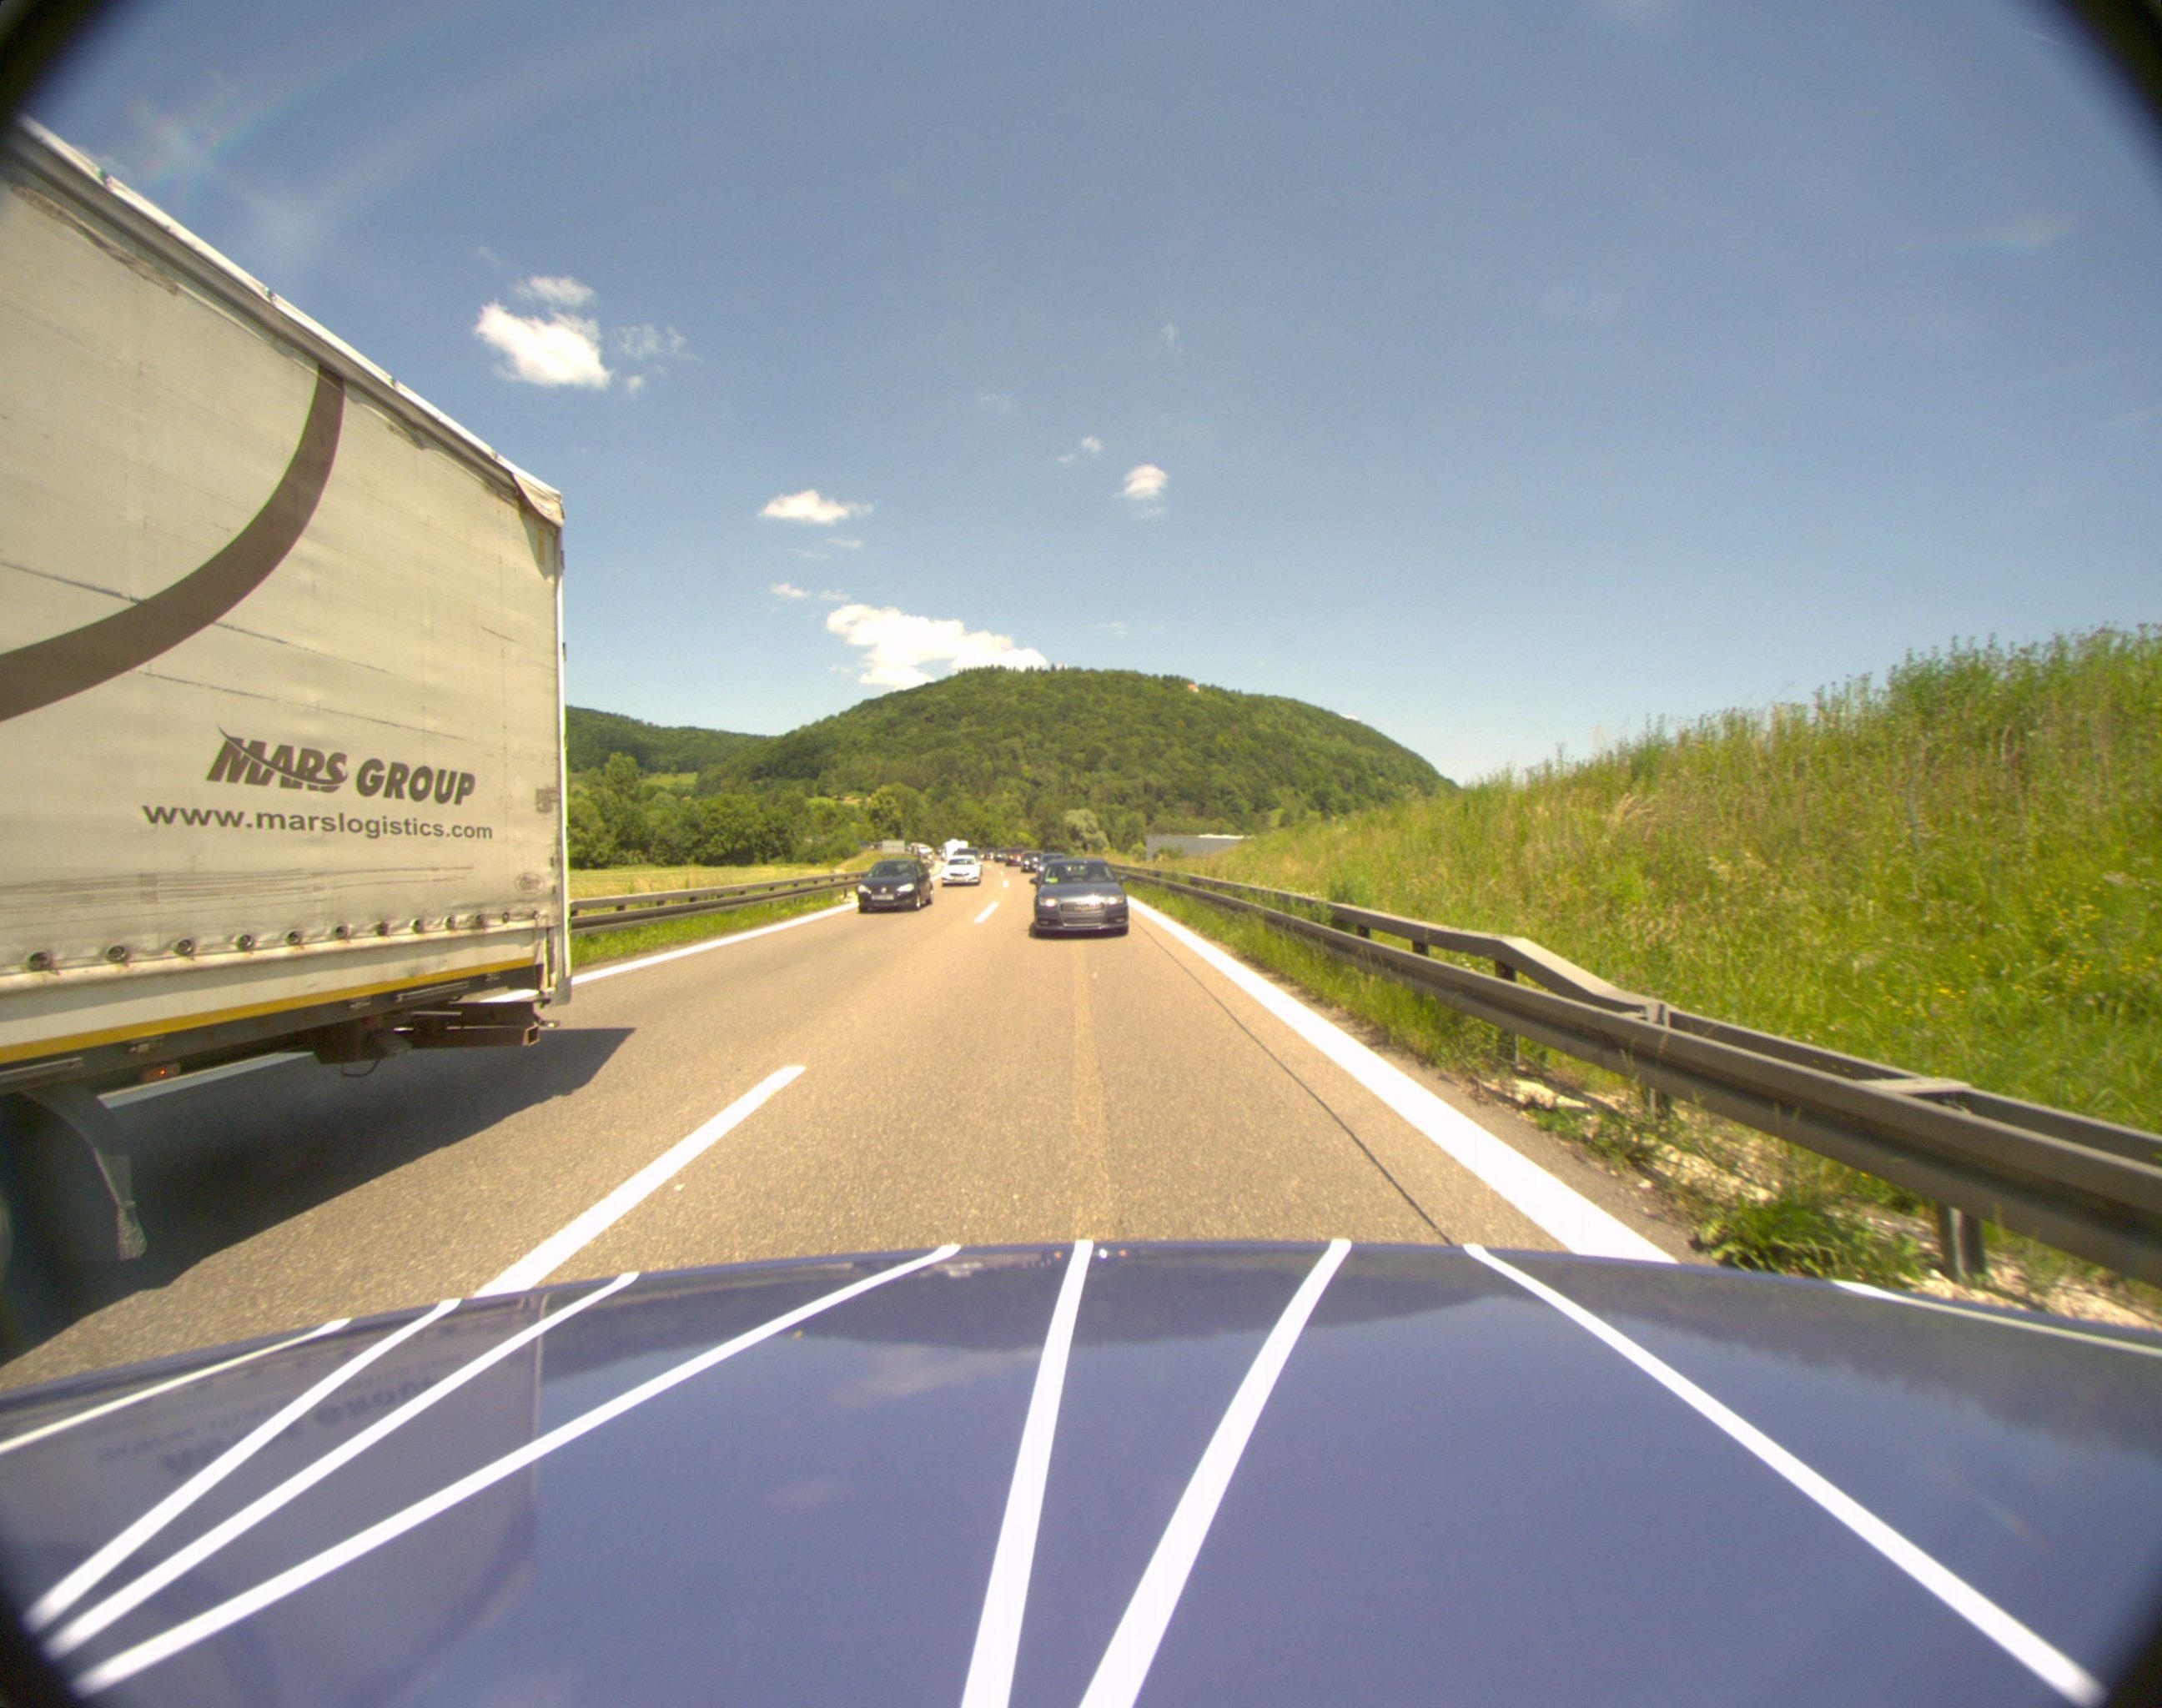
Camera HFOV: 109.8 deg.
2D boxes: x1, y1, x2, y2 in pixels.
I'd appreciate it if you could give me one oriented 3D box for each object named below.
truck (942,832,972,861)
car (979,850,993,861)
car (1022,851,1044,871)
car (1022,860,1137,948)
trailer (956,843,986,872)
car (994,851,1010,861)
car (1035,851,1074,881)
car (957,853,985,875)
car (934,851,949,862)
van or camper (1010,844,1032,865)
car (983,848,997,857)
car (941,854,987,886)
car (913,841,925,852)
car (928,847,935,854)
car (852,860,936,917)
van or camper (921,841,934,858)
[{"bbox_3d":[-14.569,-0.800,88.941,2.605,3.089,6.849,-4,1,-15],"label":"truck"},{"bbox_3d":[-14.399,0.257,115.088,1.532,1.628,3.414,-4,1,-15],"label":"car"},{"bbox_3d":[-3.475,0.492,54.703,1.287,1.305,3.450,-2,1,-9],"label":"car"},{"bbox_3d":[-0.176,0.854,14.874,1.756,1.382,4.052,-2,0,-7],"label":"car"},{"bbox_3d":[-7.802,0.258,53.777,2.000,1.958,3.997,0,0,-9],"label":"trailer"},{"bbox_3d":[-8.929,0.197,85.923,1.492,1.102,3.211,-2,1,-10],"label":"car"},{"bbox_3d":[-1.410,0.595,39.350,1.697,1.422,3.460,-2,1,-7],"label":"car"},{"bbox_3d":[-7.234,0.649,50.052,1.489,1.375,3.737,1,0,-3],"label":"car"},{"bbox_3d":[-19.604,0.343,106.867,1.700,1.523,3.675,-4,1,-14],"label":"car"},{"bbox_3d":[-5.710,0.050,71.967,1.819,1.855,3.610,-2,1,-9],"label":"van or camper"},{"bbox_3d":[-11.805,-0.163,98.341,1.492,1.102,3.210,-2,1,-13],"label":"car"},{"bbox_3d":[-5.742,0.764,37.712,1.908,1.422,3.720,-2,0,-4],"label":"car"},{"bbox_3d":[-31.620,-1.507,148.470,2.001,2.002,3.994,-3,1,-15],"label":"car"},{"bbox_3d":[-30.805,-0.695,156.650,1.247,1.470,2.957,-4,1,-14],"label":"car"},{"bbox_3d":[-5.310,0.924,22.025,1.696,1.414,3.836,-2,1,-4],"label":"car"},{"bbox_3d":[-28.222,-0.792,139.820,1.912,3.010,4.867,-1,1,-16],"label":"van or camper"}]
